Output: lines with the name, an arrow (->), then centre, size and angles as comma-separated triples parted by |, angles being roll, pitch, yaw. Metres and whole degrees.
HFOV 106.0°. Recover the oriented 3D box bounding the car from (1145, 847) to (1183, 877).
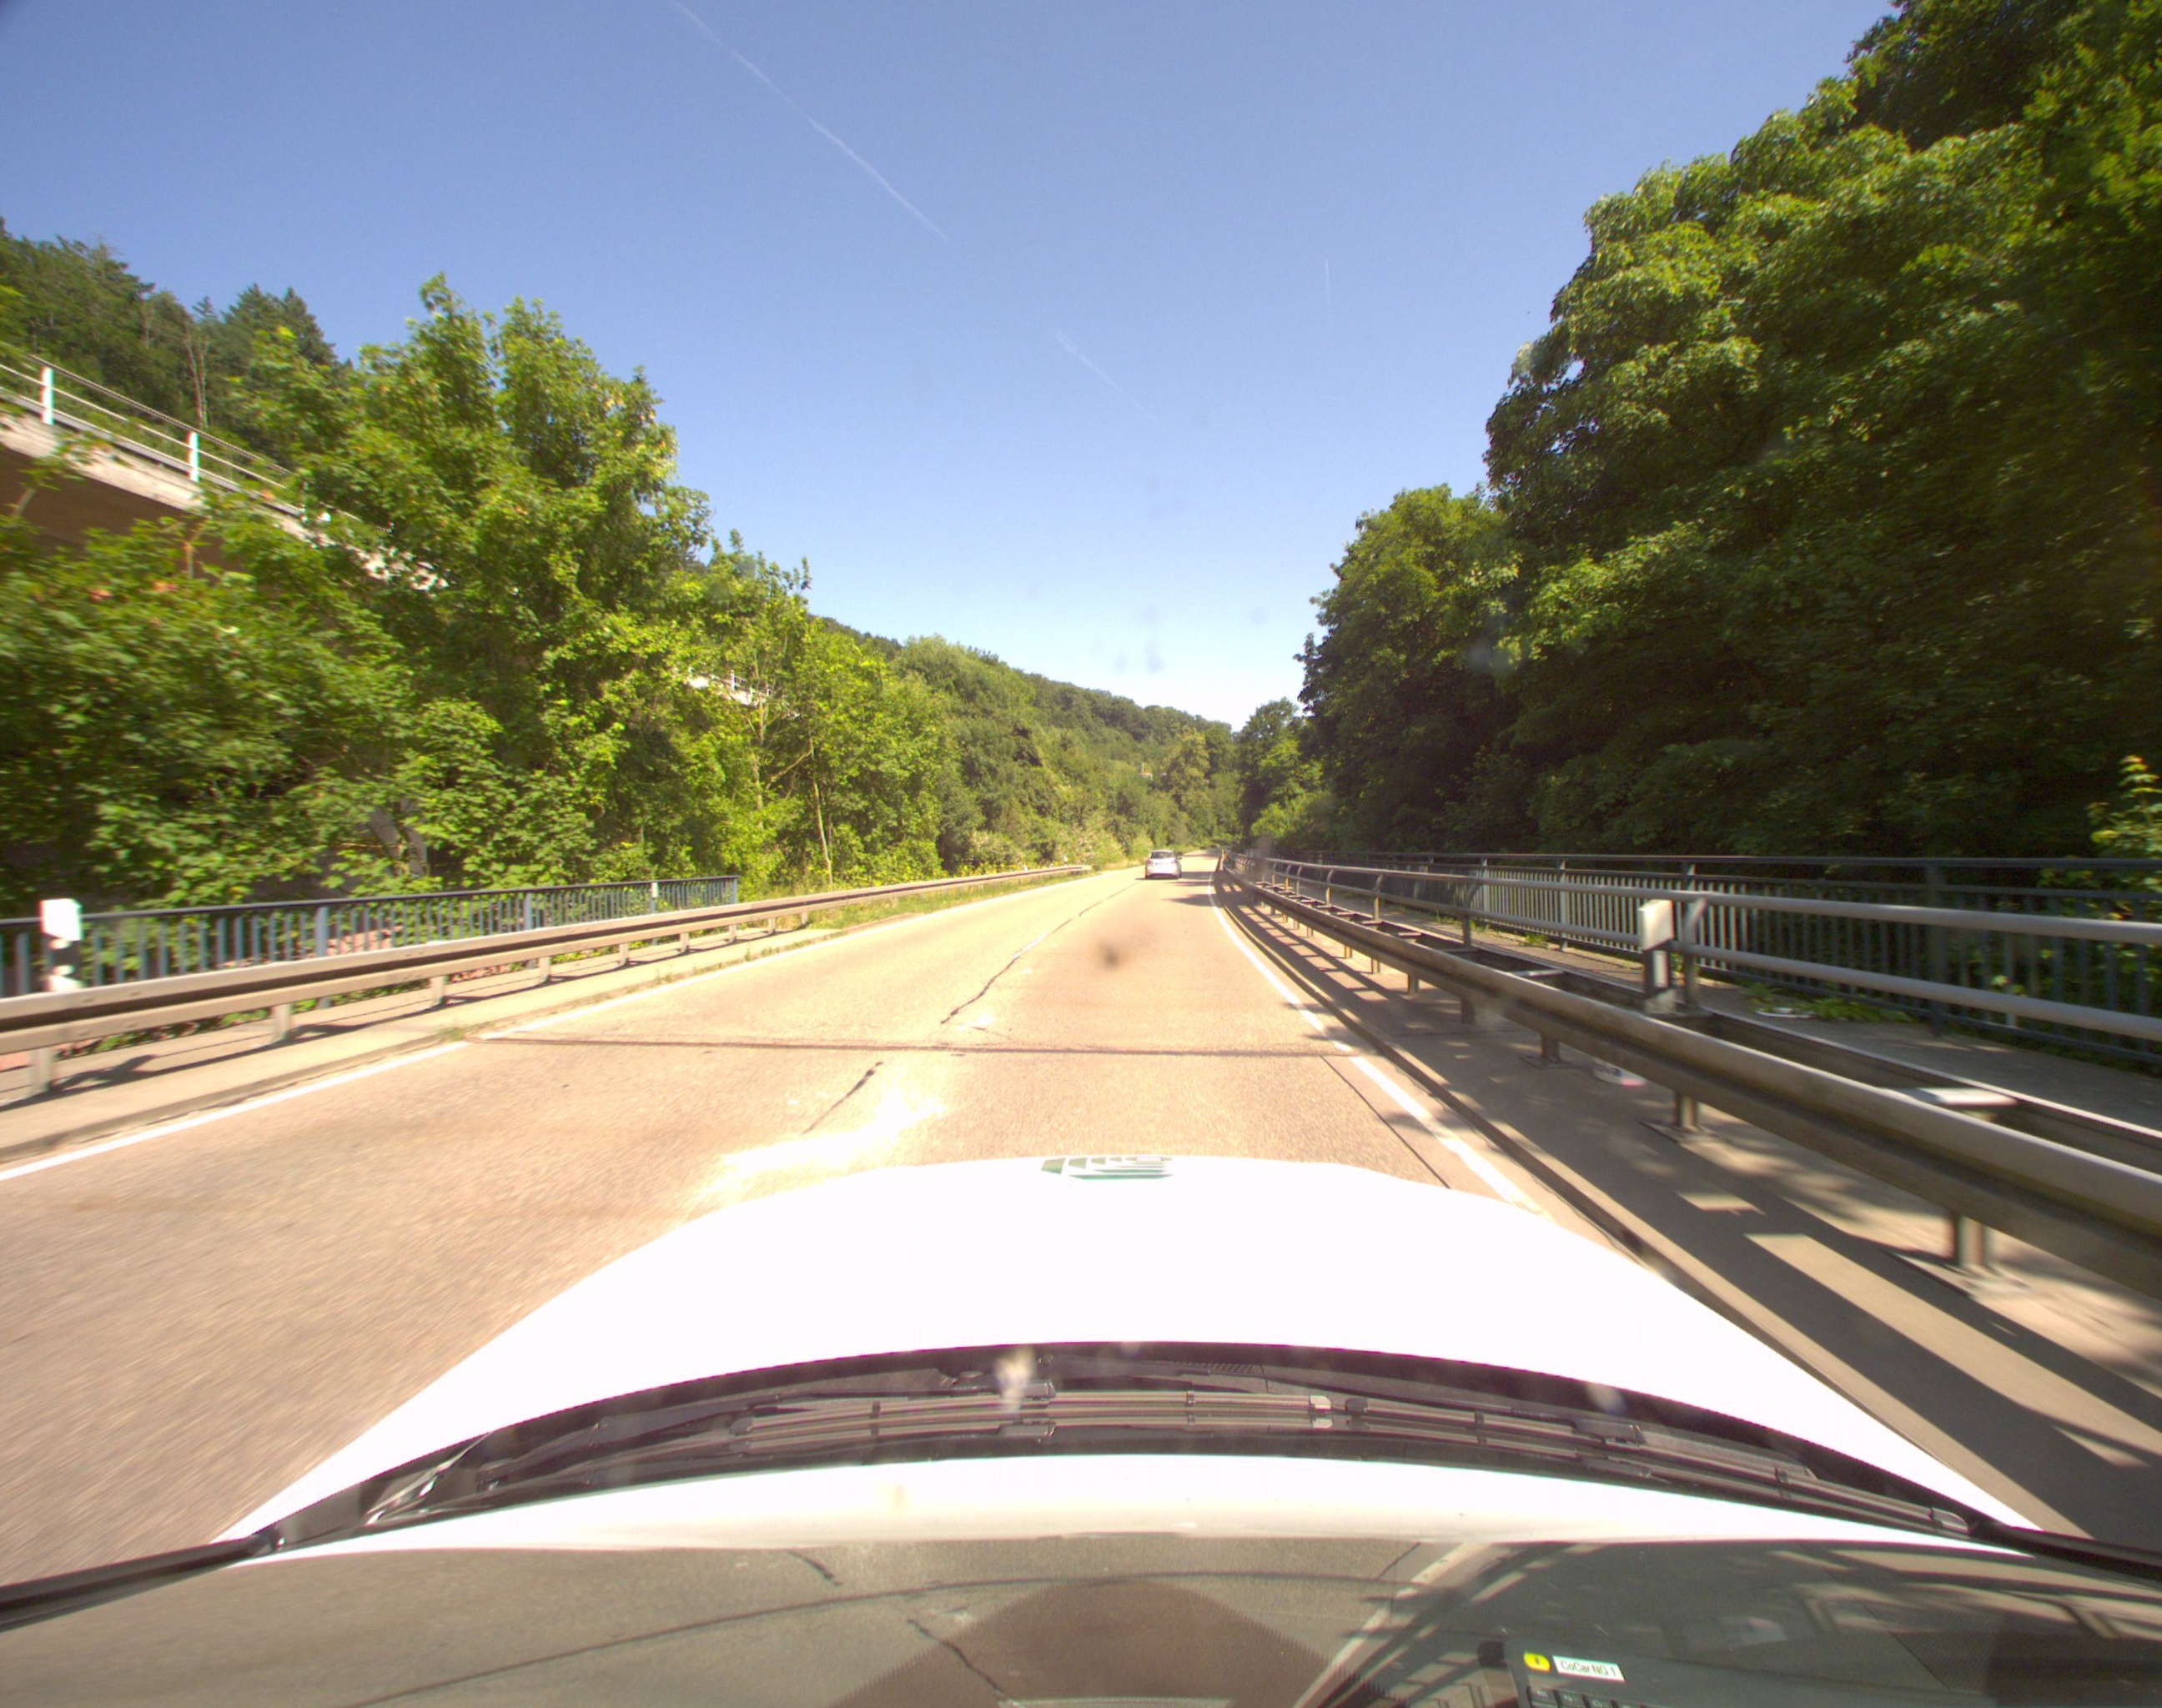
car -> 4.449, 0.406, 43.293 | 1.741, 1.520, 4.170 | 0, 1, 9
